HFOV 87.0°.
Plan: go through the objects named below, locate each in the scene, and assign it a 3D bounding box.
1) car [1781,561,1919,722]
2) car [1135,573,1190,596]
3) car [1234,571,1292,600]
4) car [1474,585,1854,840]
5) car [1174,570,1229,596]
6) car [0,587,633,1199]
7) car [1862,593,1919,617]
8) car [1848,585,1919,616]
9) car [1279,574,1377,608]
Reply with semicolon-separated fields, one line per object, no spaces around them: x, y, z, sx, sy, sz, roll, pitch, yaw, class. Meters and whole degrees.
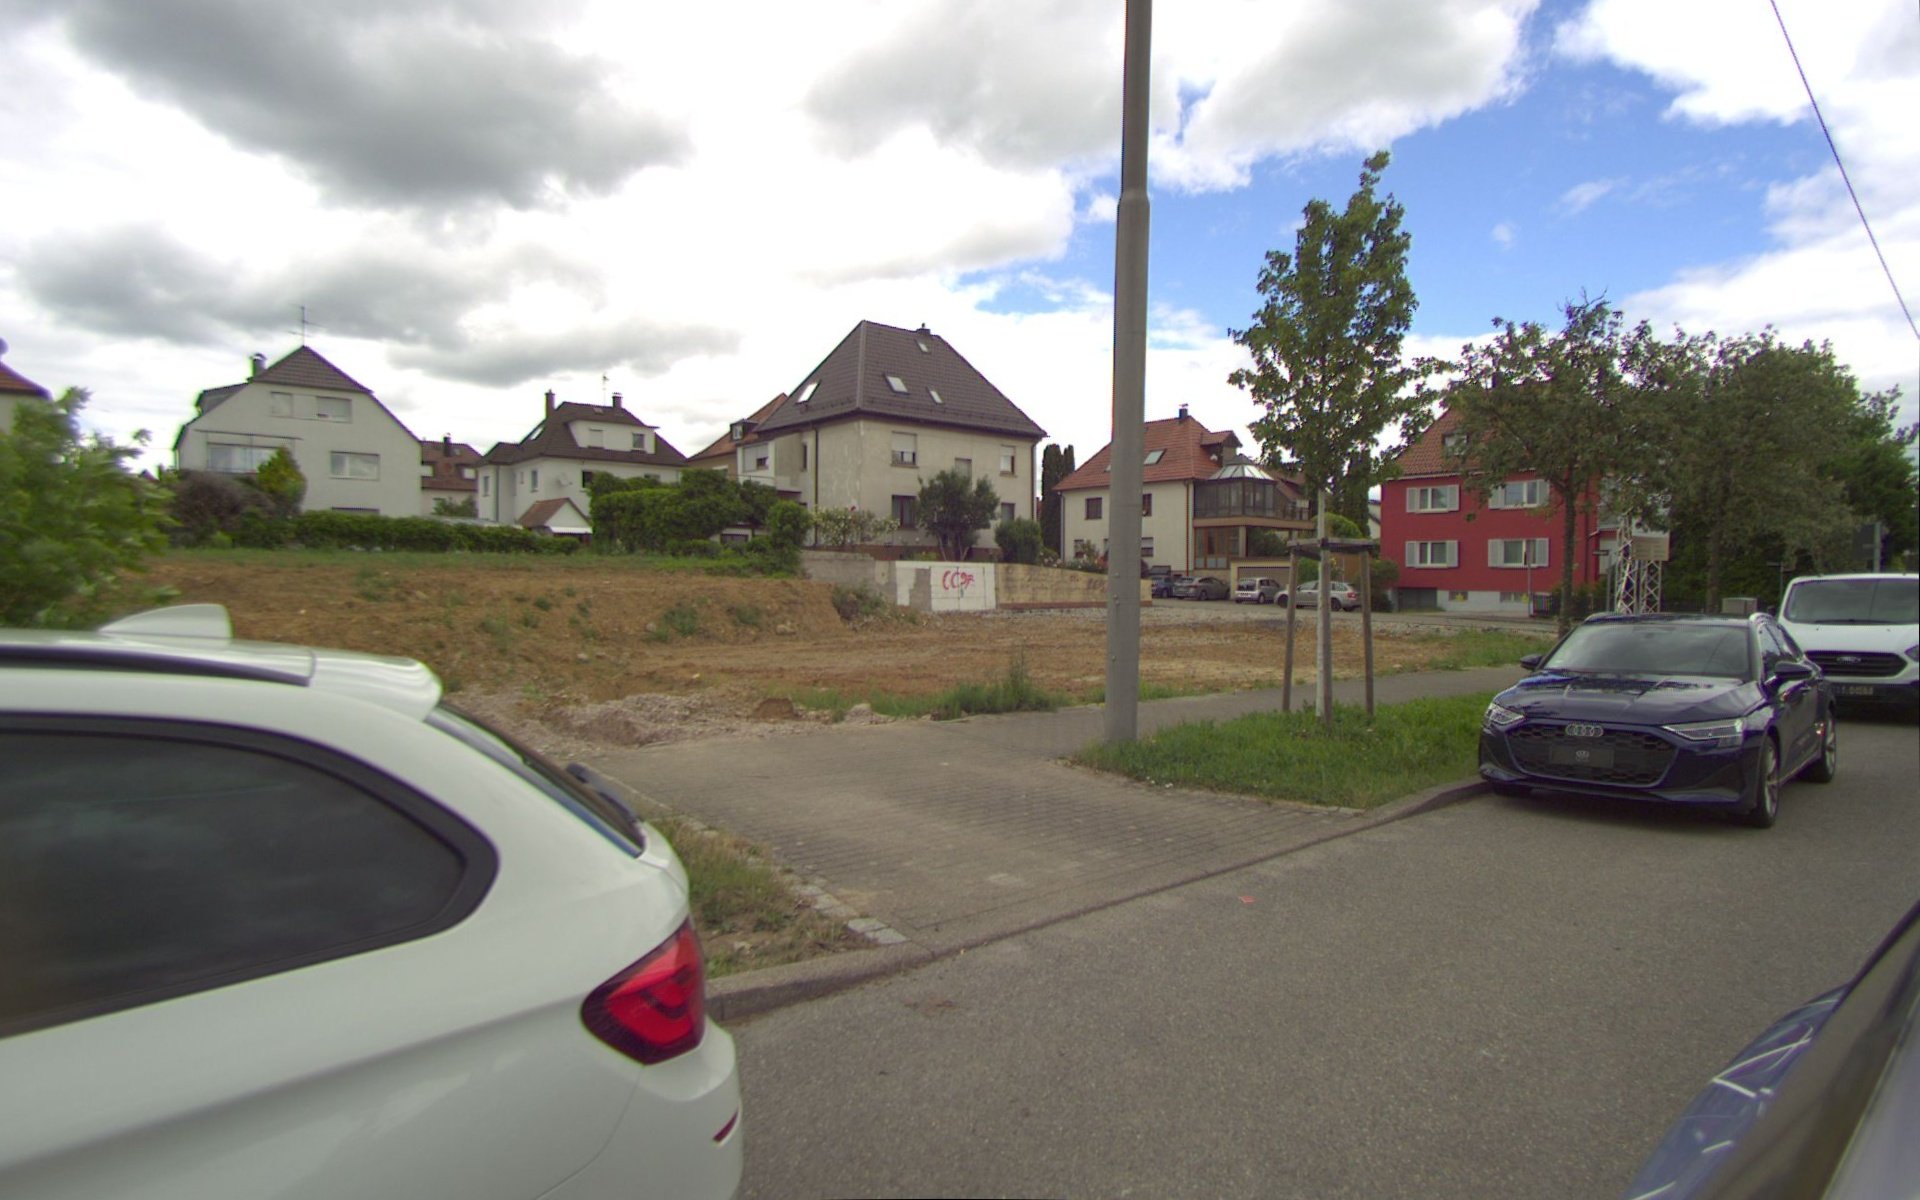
13.205;0.508;14.324;4.706;1.968;1.777;0;0;-42;car
12.620;-0.957;62.933;3.442;1.341;1.619;0;0;-43;car
17.156;-0.791;57.188;3.442;1.560;1.619;0;0;-43;car
5.814;0.681;8.148;4.149;1.535;1.667;0;0;-43;car
14.553;-1.008;60.944;3.442;1.486;1.619;0;0;-43;car
-2.638;0.728;0.648;4.327;1.472;1.696;0;-1;-41;car
61.030;0.302;65.962;3.351;1.477;1.722;2;1;43;car
58.420;0.009;63.933;1.554;1.653;3.356;0;4;-44;car
18.215;-0.453;50.241;1.730;1.442;4.227;2;2;-42;car
